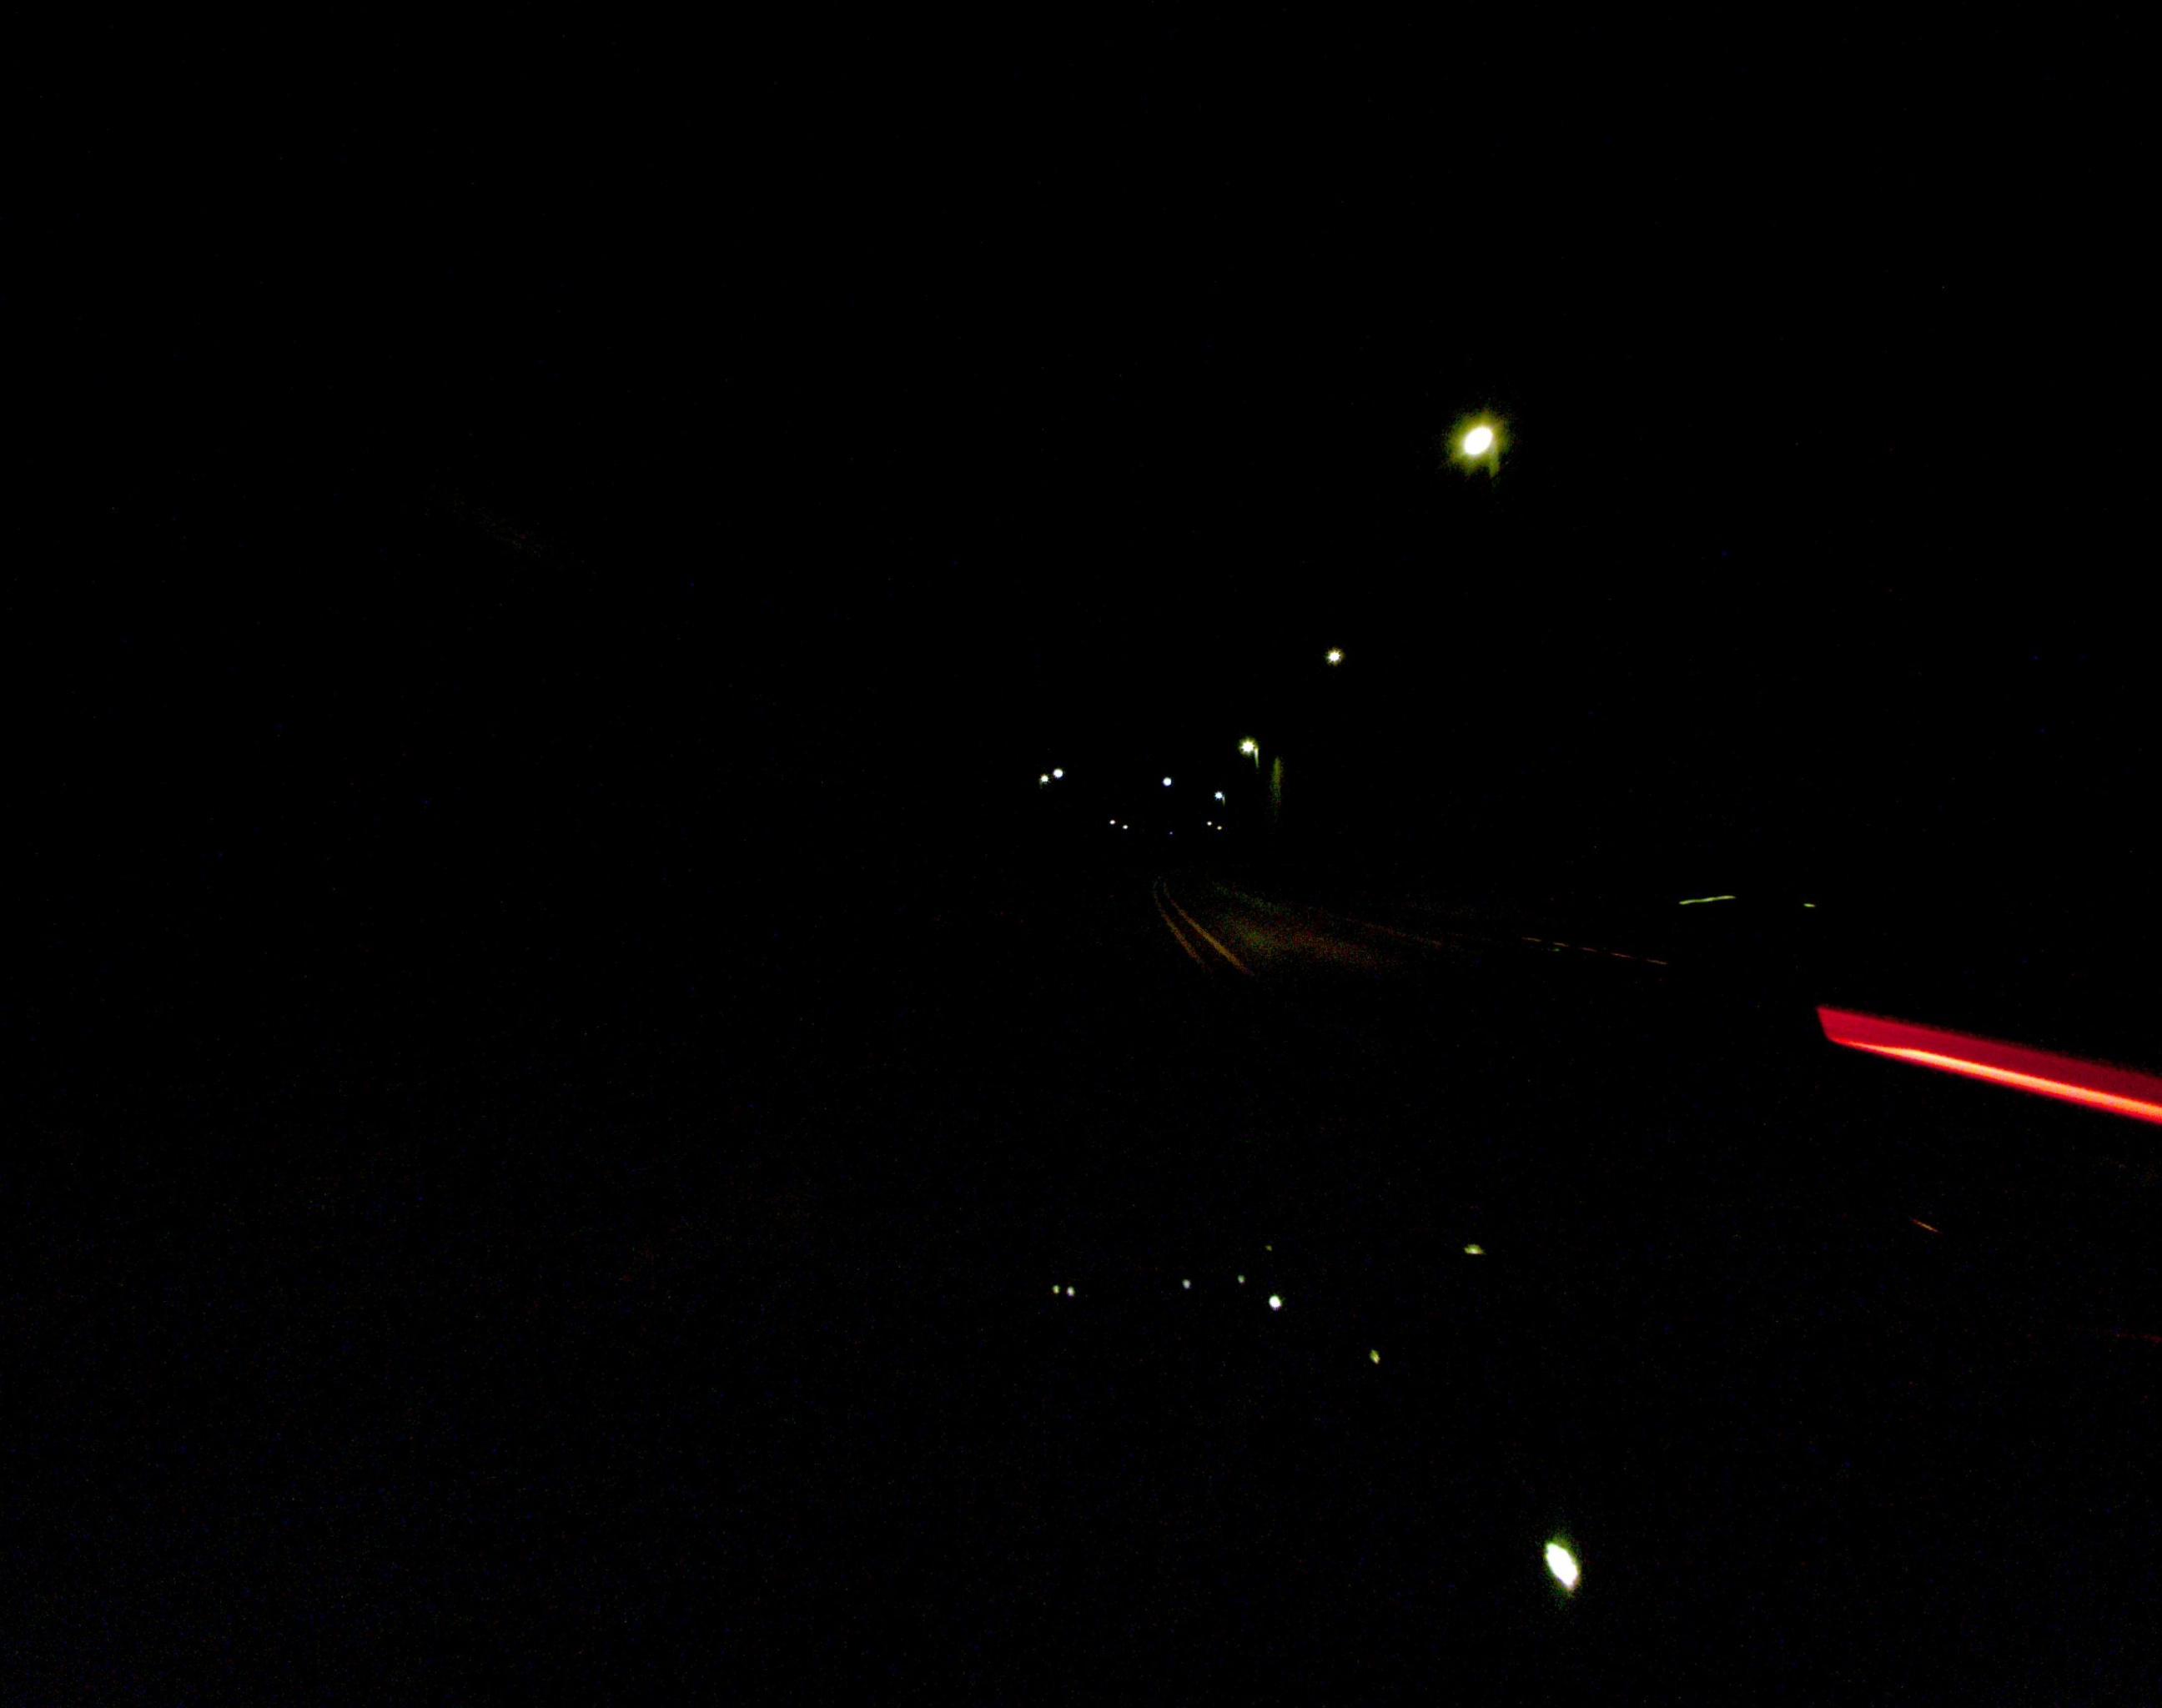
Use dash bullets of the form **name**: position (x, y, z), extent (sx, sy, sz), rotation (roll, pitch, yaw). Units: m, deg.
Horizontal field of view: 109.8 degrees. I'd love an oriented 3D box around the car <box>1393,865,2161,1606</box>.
- **car**: position (3.235, 0.859, 3.662), extent (1.720, 1.434, 4.394), rotation (-3, 0, 2)
